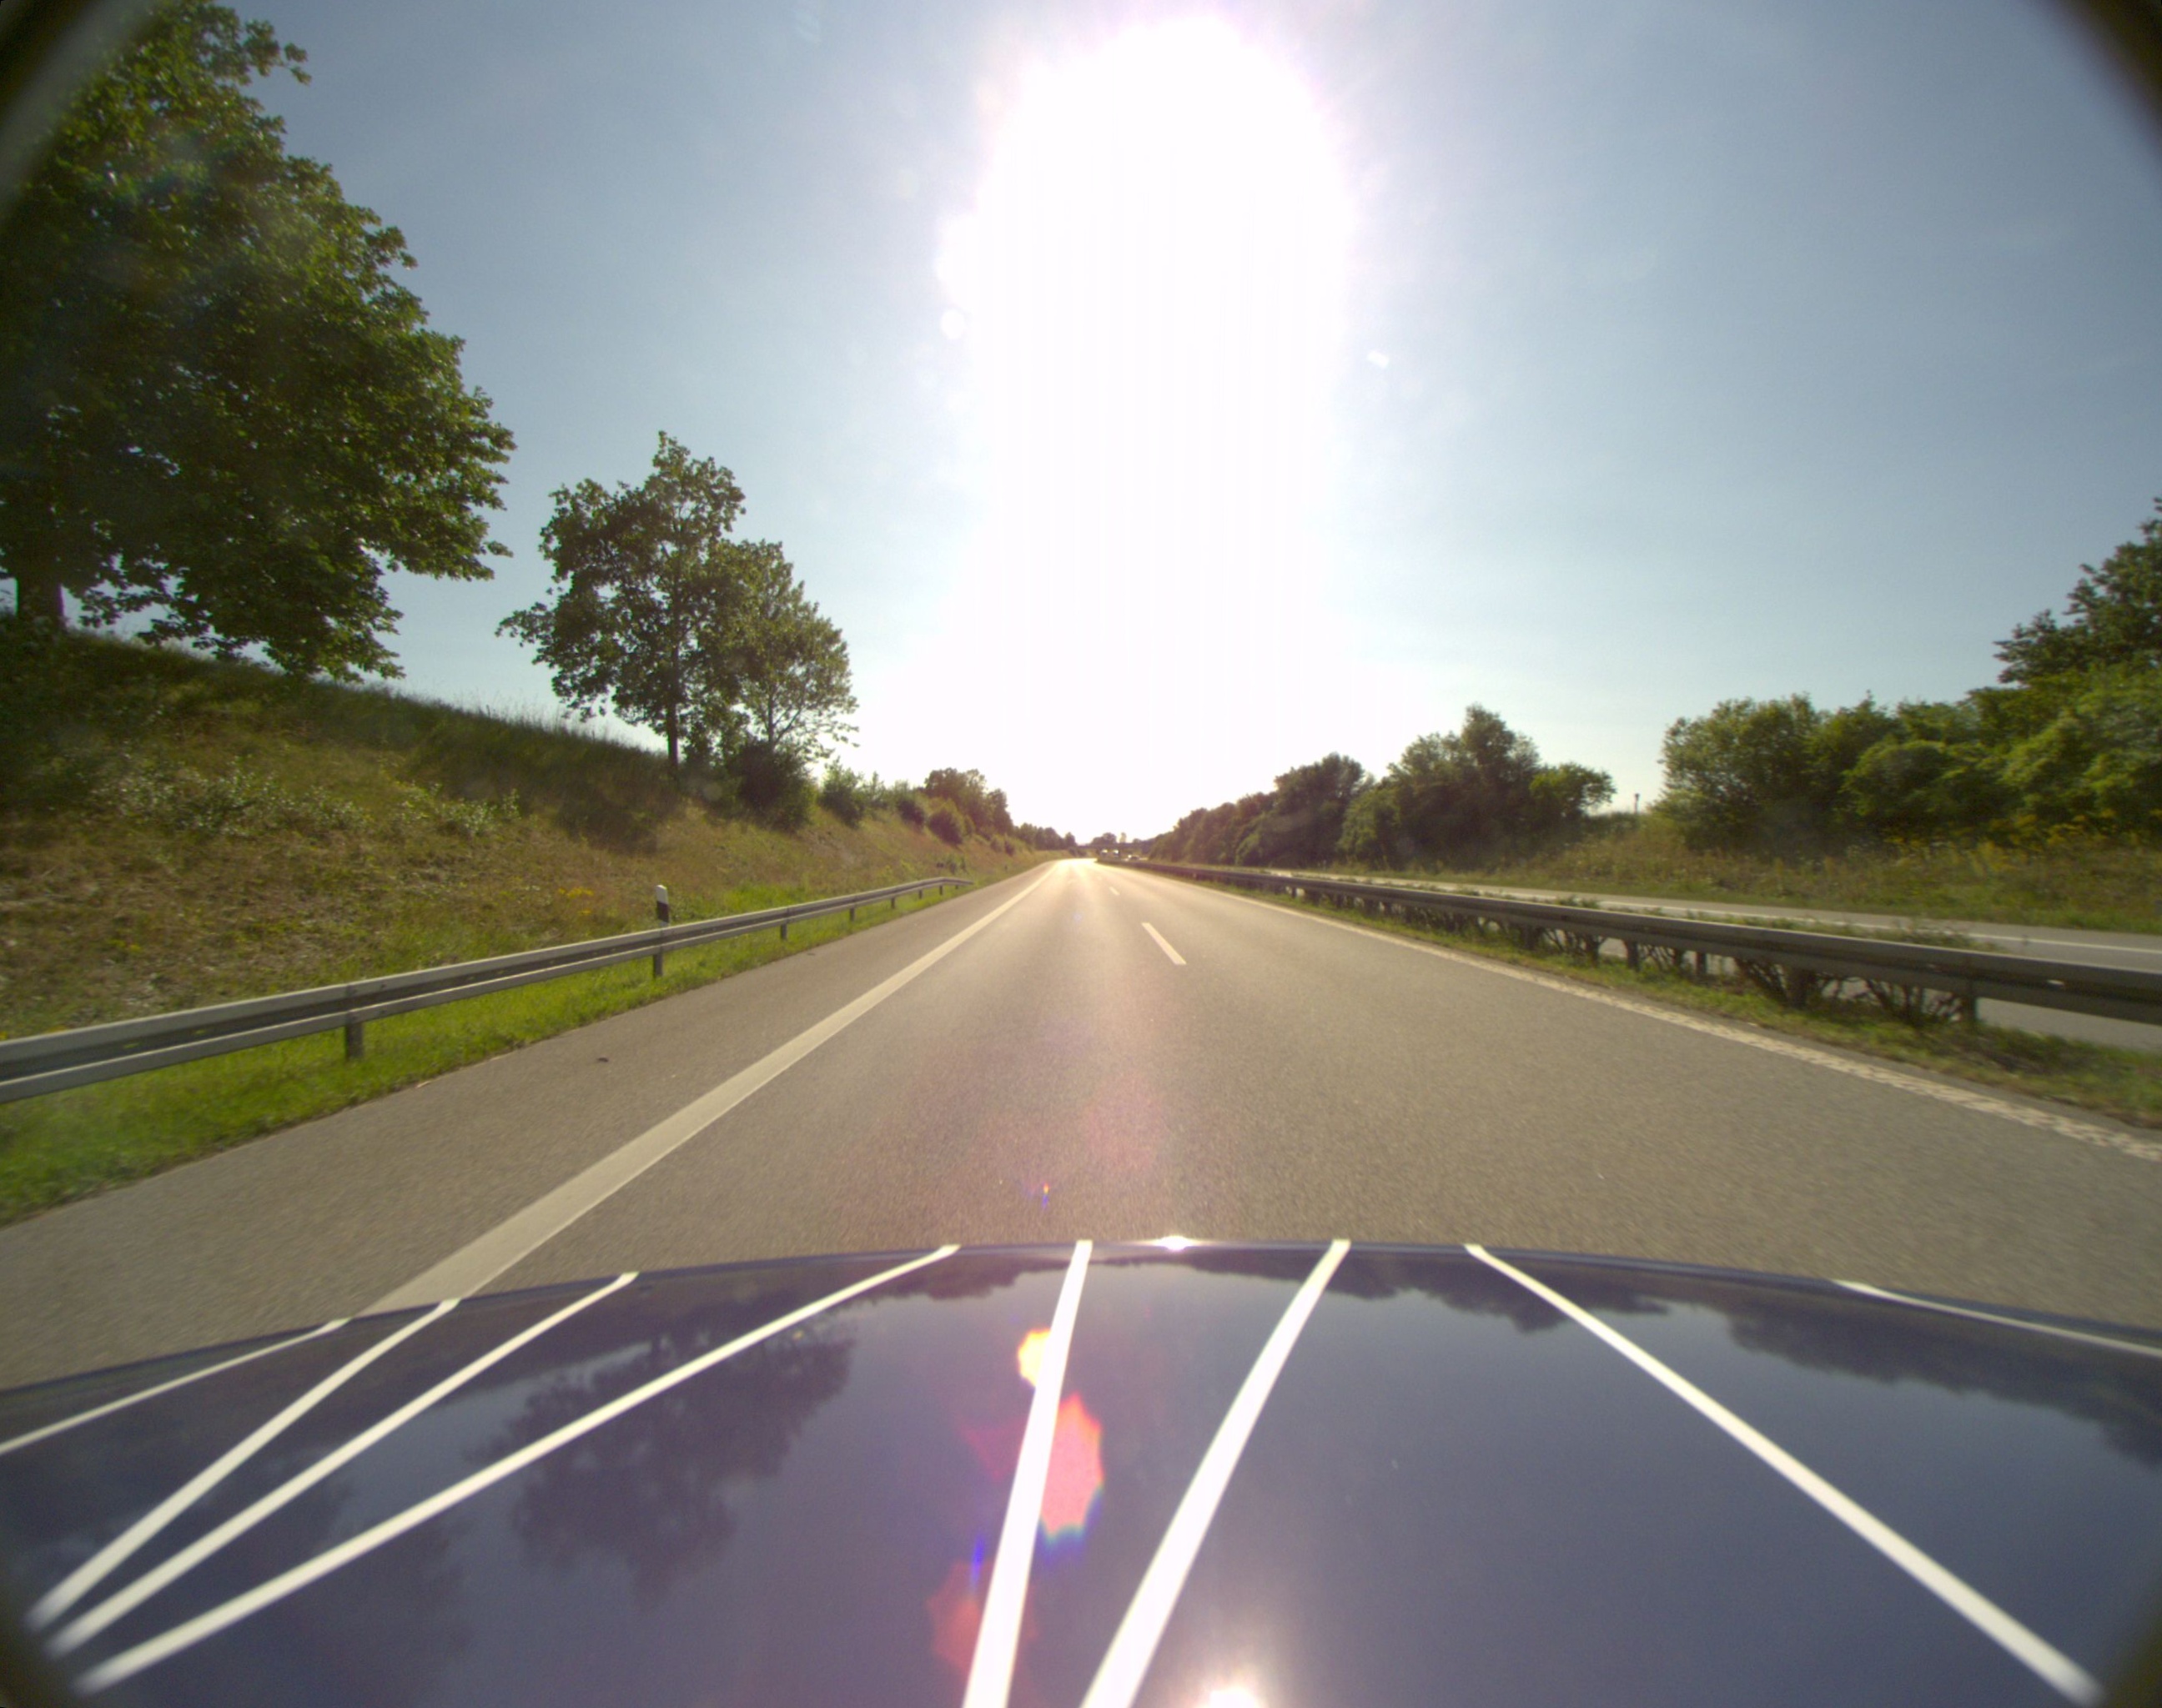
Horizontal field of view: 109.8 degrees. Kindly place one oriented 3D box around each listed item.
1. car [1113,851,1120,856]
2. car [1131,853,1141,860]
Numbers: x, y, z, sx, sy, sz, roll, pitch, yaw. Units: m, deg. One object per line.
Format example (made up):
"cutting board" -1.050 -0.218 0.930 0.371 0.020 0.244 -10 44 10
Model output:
"car" 11.688 -0.200 250.802 1.772 1.486 4.228 2 1 -1
"car" 12.931 0.552 178.614 1.772 1.575 4.791 -1 1 -1
